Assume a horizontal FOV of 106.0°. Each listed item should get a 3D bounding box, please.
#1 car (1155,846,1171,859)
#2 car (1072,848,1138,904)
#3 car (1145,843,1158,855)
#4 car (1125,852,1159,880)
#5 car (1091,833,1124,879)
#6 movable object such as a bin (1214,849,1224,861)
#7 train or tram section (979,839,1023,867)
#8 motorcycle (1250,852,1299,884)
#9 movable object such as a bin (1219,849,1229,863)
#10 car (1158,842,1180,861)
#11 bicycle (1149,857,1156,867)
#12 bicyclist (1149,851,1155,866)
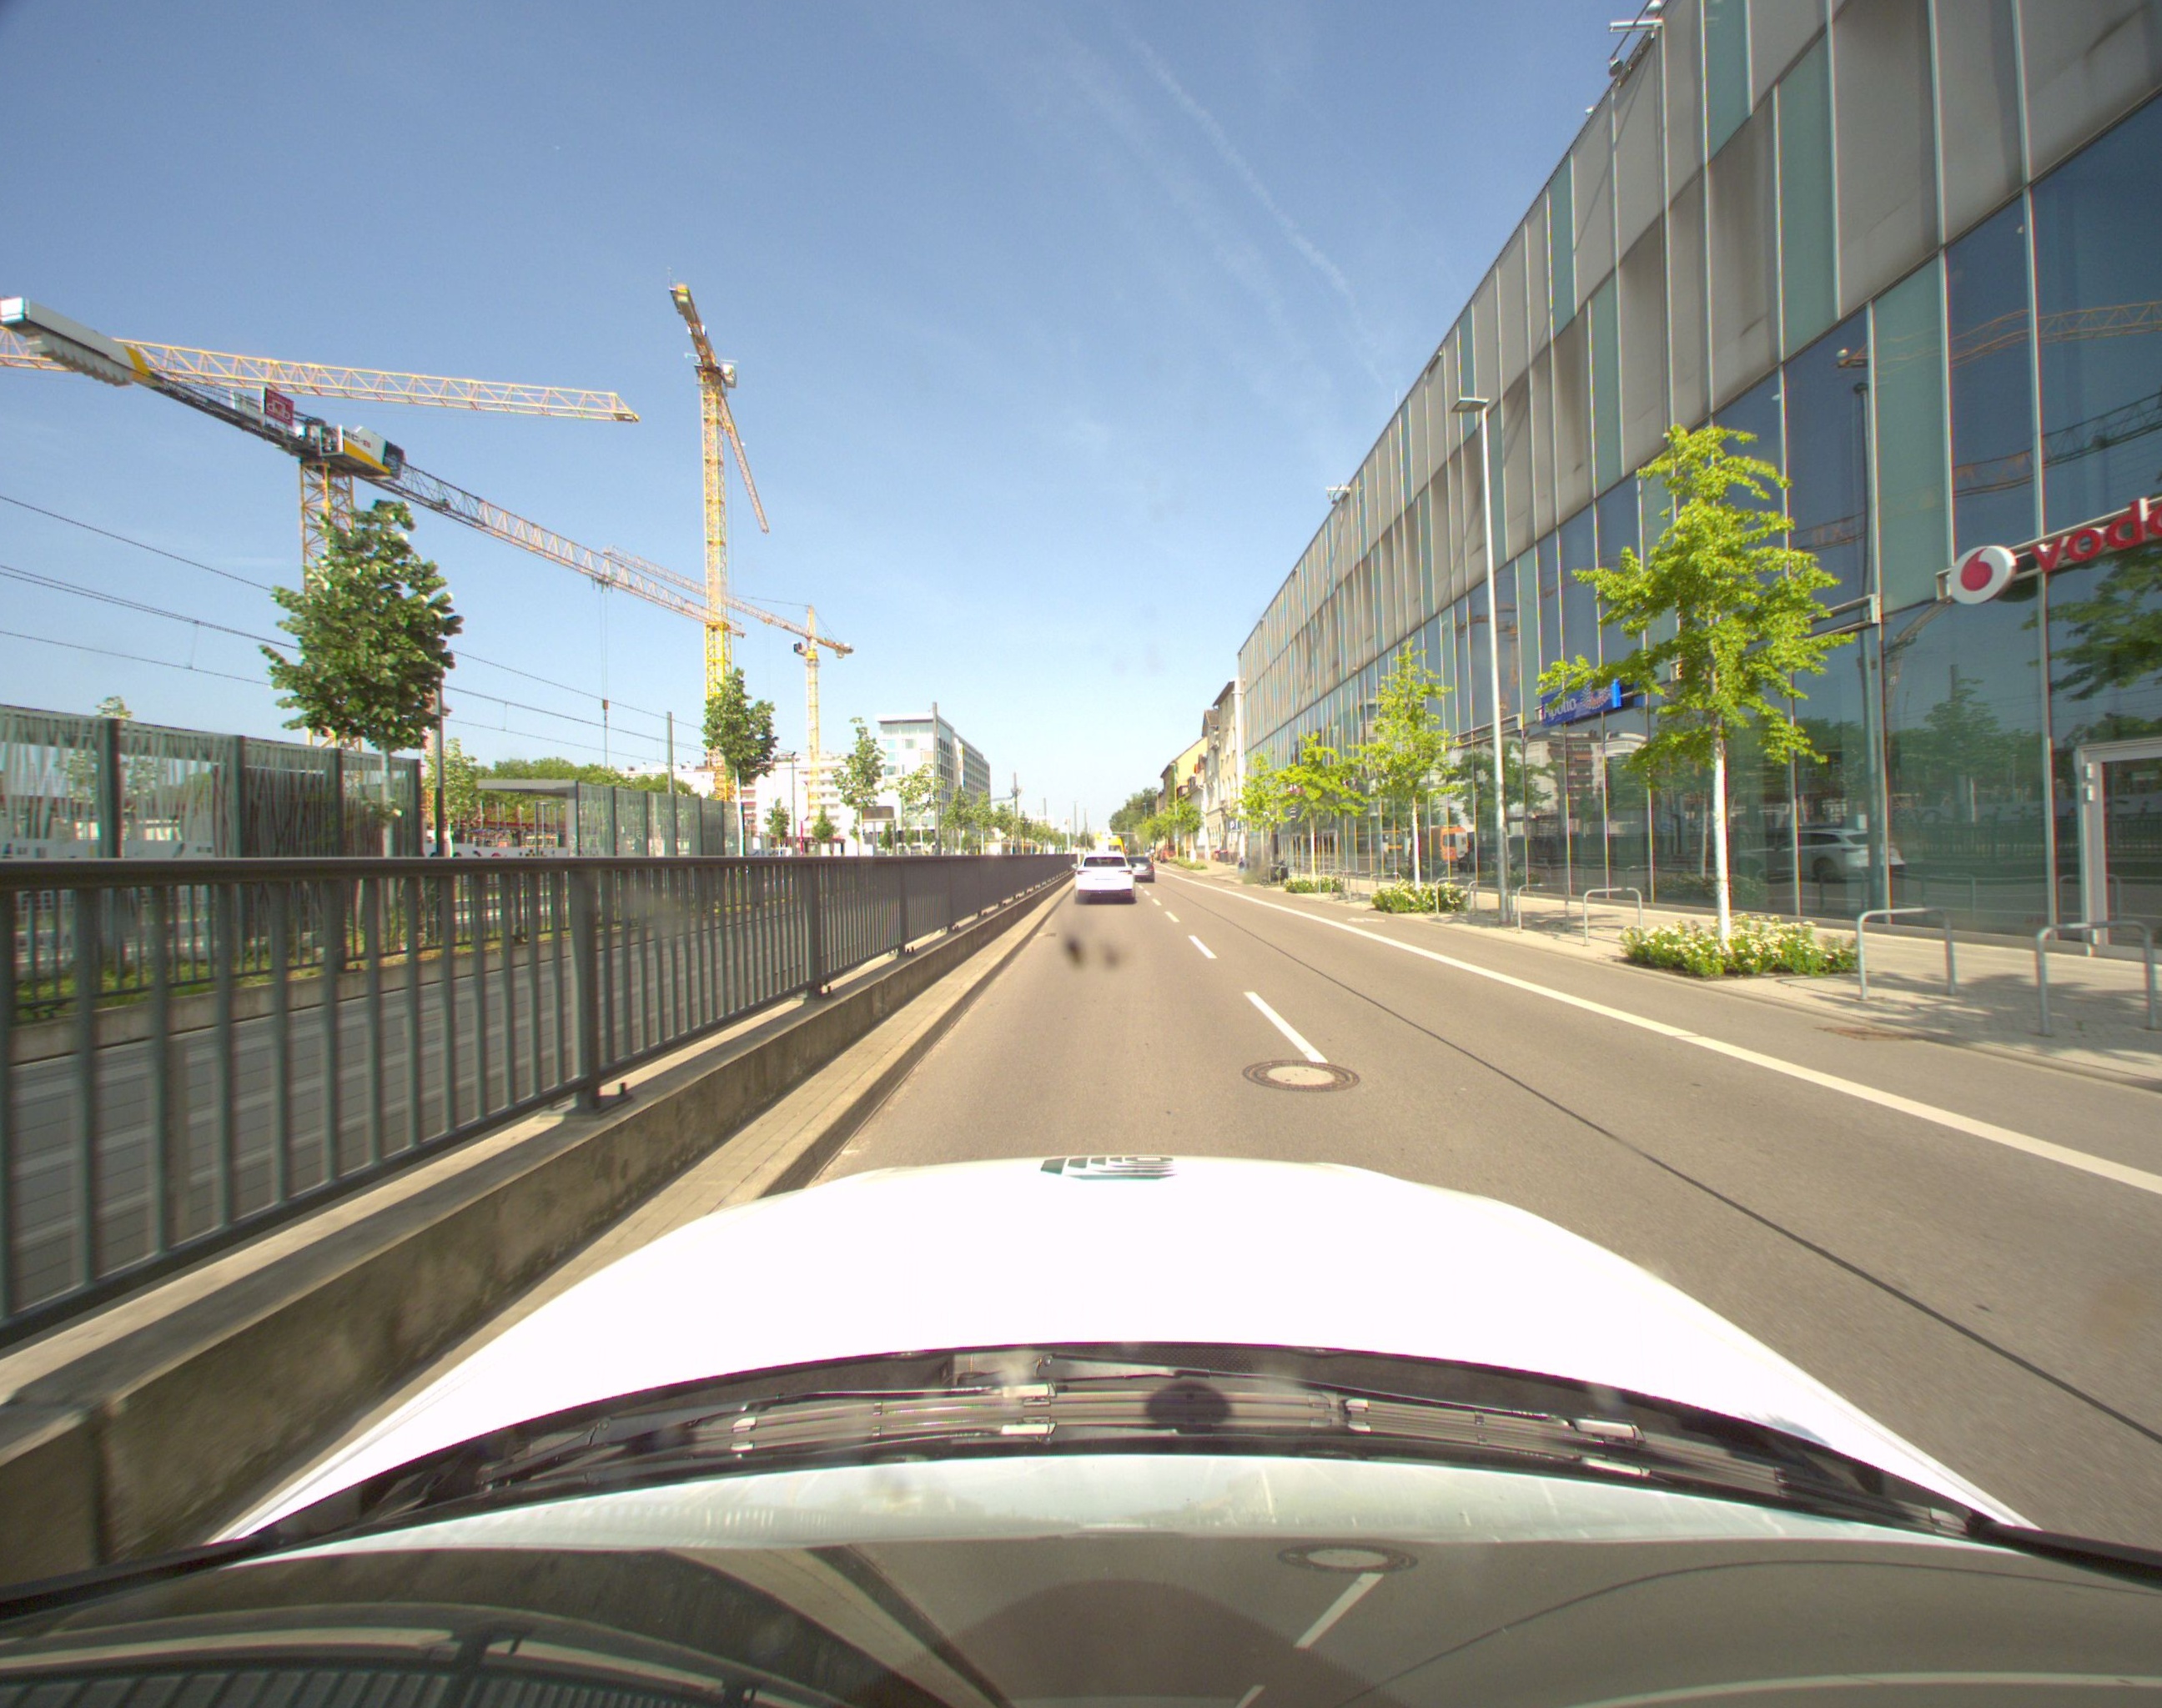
[{"bbox_3d":[10.590,-0.167,104.904,1.667,1.483,4.314,-3,0,2],"label":"car"},{"bbox_3d":[0.773,0.635,25.680,1.862,1.574,4.002,-2,0,2],"label":"car"},{"bbox_3d":[11.670,-0.816,135.060,1.806,1.812,3.837,-1,0,2],"label":"car"},{"bbox_3d":[3.281,0.634,44.499,1.753,1.436,4.118,0,1,2],"label":"car"},{"bbox_3d":[1.795,0.034,54.725,2.012,2.795,5.405,-2,2,2],"label":"car"},{"bbox_3d":[13.010,0.109,76.943,0.674,1.152,0.610,-3,3,-42],"label":"movable object such as a bin"},{"bbox_3d":[-11.166,-0.124,116.024,2.892,3.676,18.162,0,0,5],"label":"train or tram section"},{"bbox_3d":[8.847,0.630,37.318,1.968,1.349,0.865,-2,0,-9],"label":"motorcycle"},{"bbox_3d":[12.904,0.197,73.521,0.778,1.172,0.808,-1,2,1],"label":"movable object such as a bin"},{"bbox_3d":[9.894,-0.312,91.441,2.055,2.013,4.590,-2,1,2],"label":"car"},{"bbox_3d":[7.499,0.837,85.708,0.652,0.938,1.519,-1,0,4],"label":"bicycle"},{"bbox_3d":[7.490,0.434,85.714,0.636,1.577,0.772,-1,0,4],"label":"bicyclist"}]
